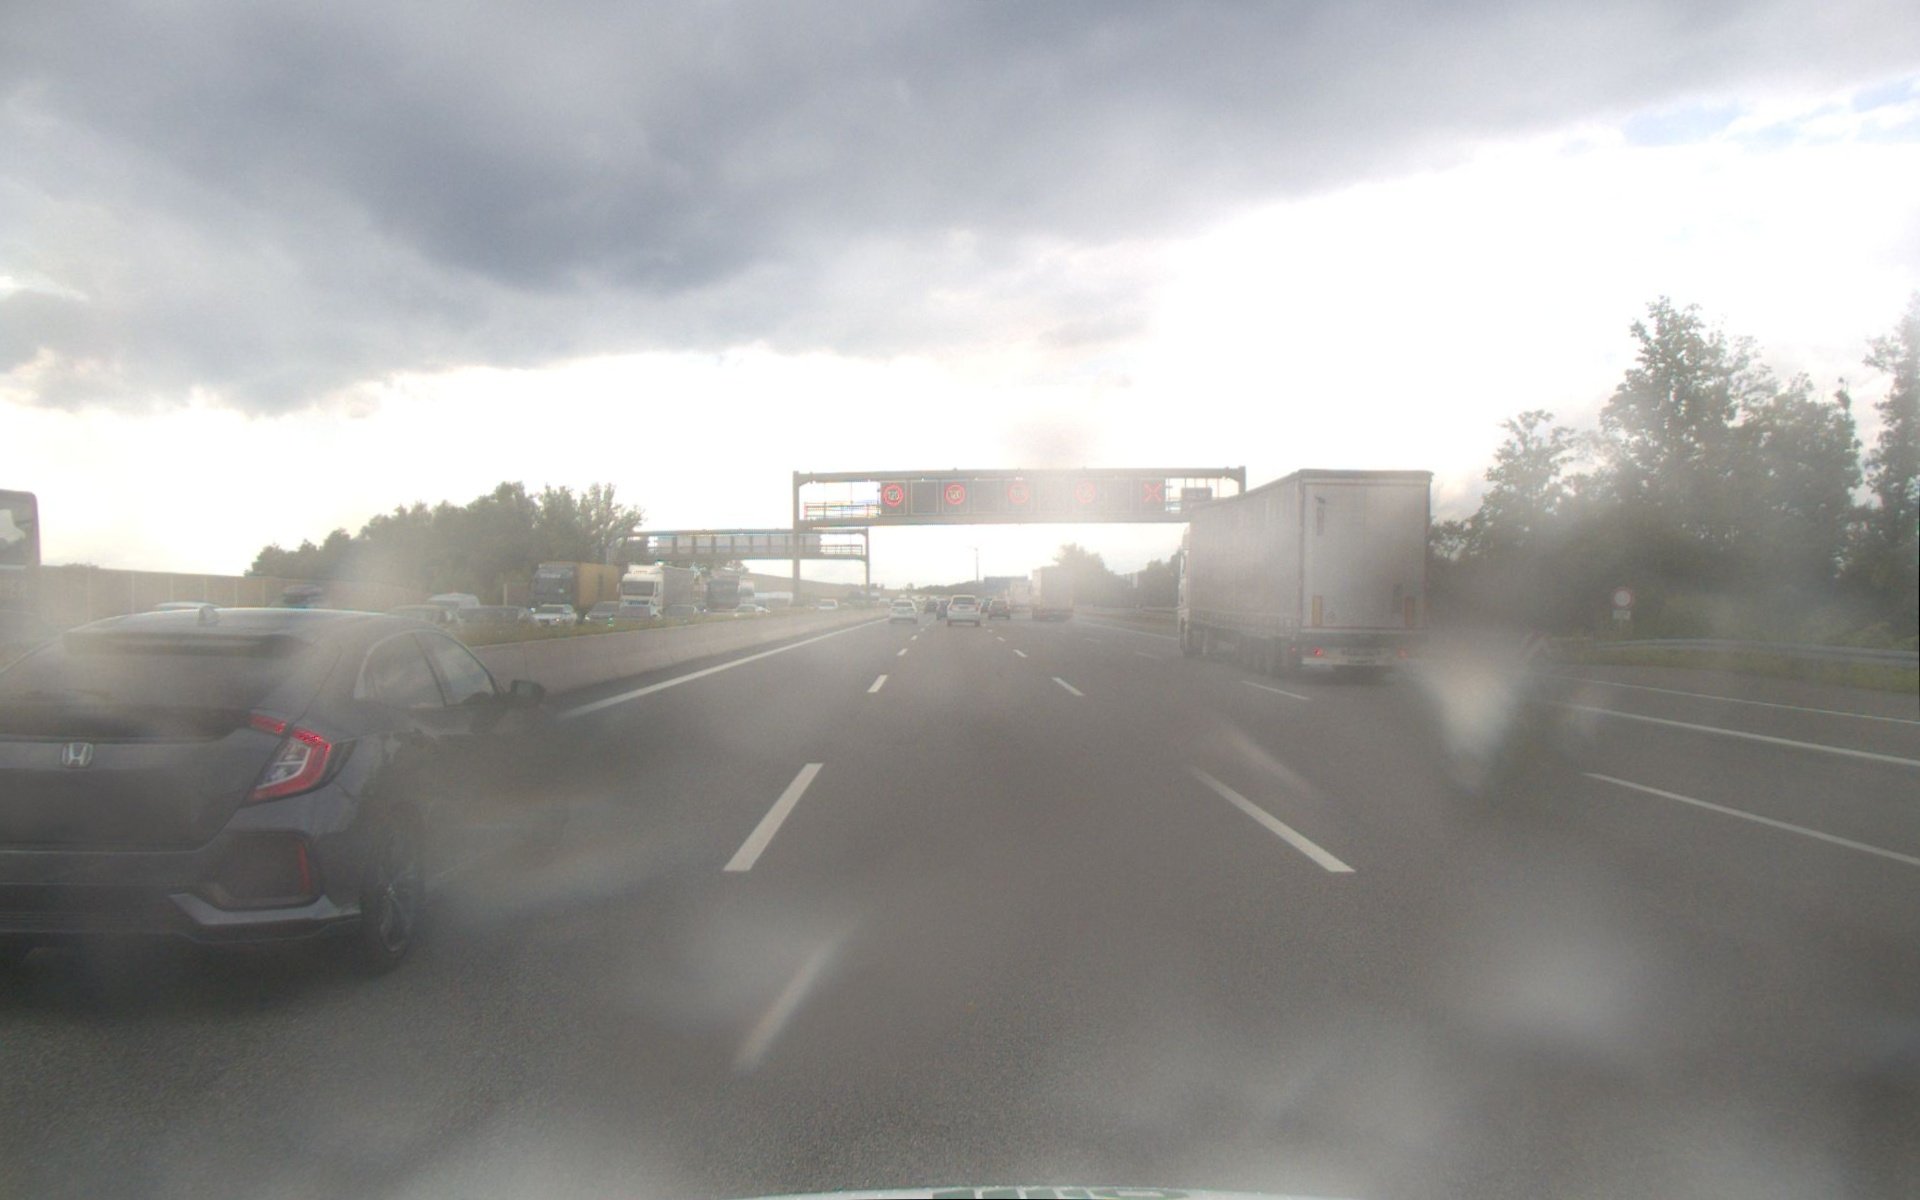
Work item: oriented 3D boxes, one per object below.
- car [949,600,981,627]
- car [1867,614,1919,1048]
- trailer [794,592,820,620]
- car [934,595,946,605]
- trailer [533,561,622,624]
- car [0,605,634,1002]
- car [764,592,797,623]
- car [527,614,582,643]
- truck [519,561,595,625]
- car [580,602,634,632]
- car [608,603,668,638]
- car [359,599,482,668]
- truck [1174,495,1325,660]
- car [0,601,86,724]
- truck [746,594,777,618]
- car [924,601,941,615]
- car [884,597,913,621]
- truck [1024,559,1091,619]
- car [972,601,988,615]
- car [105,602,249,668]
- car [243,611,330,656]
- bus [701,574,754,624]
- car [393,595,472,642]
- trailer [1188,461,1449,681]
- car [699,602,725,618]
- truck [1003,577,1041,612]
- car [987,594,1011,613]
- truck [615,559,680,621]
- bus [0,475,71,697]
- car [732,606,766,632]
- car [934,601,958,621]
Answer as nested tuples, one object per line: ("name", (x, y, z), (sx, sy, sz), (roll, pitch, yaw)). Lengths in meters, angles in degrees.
("car", (0.268, 0.765, 96.107), (1.737, 1.466, 4.054), (1, 0, -2))
("car", (4.001, 0.791, 4.362), (1.418, 1.466, 3.162), (0, 0, -2))
("trailer", (-17.596, 0.707, 190.181), (2.399, 3.193, 6.050), (0, 0, 0))
("car", (-2.960, -0.020, 244.069), (1.736, 1.466, 4.055), (1, 0, -1))
("trailer", (-26.063, -0.448, 113.477), (2.967, 4.002, 12.974), (0, 0, 0))
("car", (-3.015, 0.755, 8.566), (1.725, 1.393, 5.059), (1, 0, -1))
("car", (-14.378, 0.584, 132.554), (2.093, 2.393, 5.709), (1, 0, -1))
("car", (-21.261, 1.489, 86.825), (1.751, 1.406, 4.859), (1, 0, -1))
("truck", (-26.116, -0.437, 107.545), (2.967, 4.002, 7.710), (0, 0, 0))
("car", (-17.796, 0.827, 83.575), (1.751, 1.406, 4.859), (1, 0, -1))
("car", (-14.038, 0.870, 72.310), (1.751, 1.406, 4.859), (1, 0, -1))
("car", (-13.041, 0.774, 40.221), (1.682, 1.550, 4.212), (1, 0, -1))
("truck", (7.675, -0.581, 44.699), (2.900, 4.090, 6.588), (1, 0, 0))
("car", (-13.267, 0.808, 21.208), (1.751, 1.560, 4.563), (1, 0, -1))
("truck", (-17.828, 0.541, 148.861), (2.198, 2.035, 5.543), (0, 0, -1))
("car", (-3.085, 0.846, 184.458), (1.737, 1.466, 4.053), (1, 0, -3))
("car", (-3.862, 0.558, 103.927), (1.737, 1.466, 3.872), (1, 0, -2))
("truck", (7.508, -0.811, 129.310), (4.095, 4.363, 12.609), (1, 0, -1))
("car", (2.313, 0.924, 191.620), (1.798, 1.466, 4.055), (1, 0, -1))
("car", (-20.888, 0.898, 44.348), (1.751, 1.619, 4.580), (1, 0, -1))
("car", (-25.647, 1.247, 63.132), (1.751, 1.625, 3.954), (1, 0, -1))
("bus", (-18.288, -0.068, 130.564), (2.599, 3.744, 10.634), (0, 0, 0))
("car", (-20.983, 0.716, 65.946), (1.754, 1.770, 4.576), (1, 0, -1))
("trailer", (7.696, -0.581, 38.057), (2.900, 4.090, 14.118), (1, 0, 0))
("car", (-23.907, 0.933, 159.706), (1.770, 1.514, 4.773), (0, 0, 0))
("truck", (7.756, -0.689, 209.485), (4.157, 4.249, 11.988), (1, 0, 0))
("car", (3.172, 0.278, 133.904), (1.798, 1.466, 4.055), (1, 0, -1))
("truck", (-21.418, -0.665, 113.670), (2.826, 4.031, 7.536), (1, 0, 1))
("bus", (-17.196, -0.253, 23.137), (2.831, 3.674, 12.755), (1, 0, -1))
("car", (-13.748, 1.213, 108.010), (1.701, 1.566, 4.376), (1, 0, -1))
("car", (-1.064, 0.816, 124.787), (1.737, 1.466, 4.054), (1, 0, -2))
